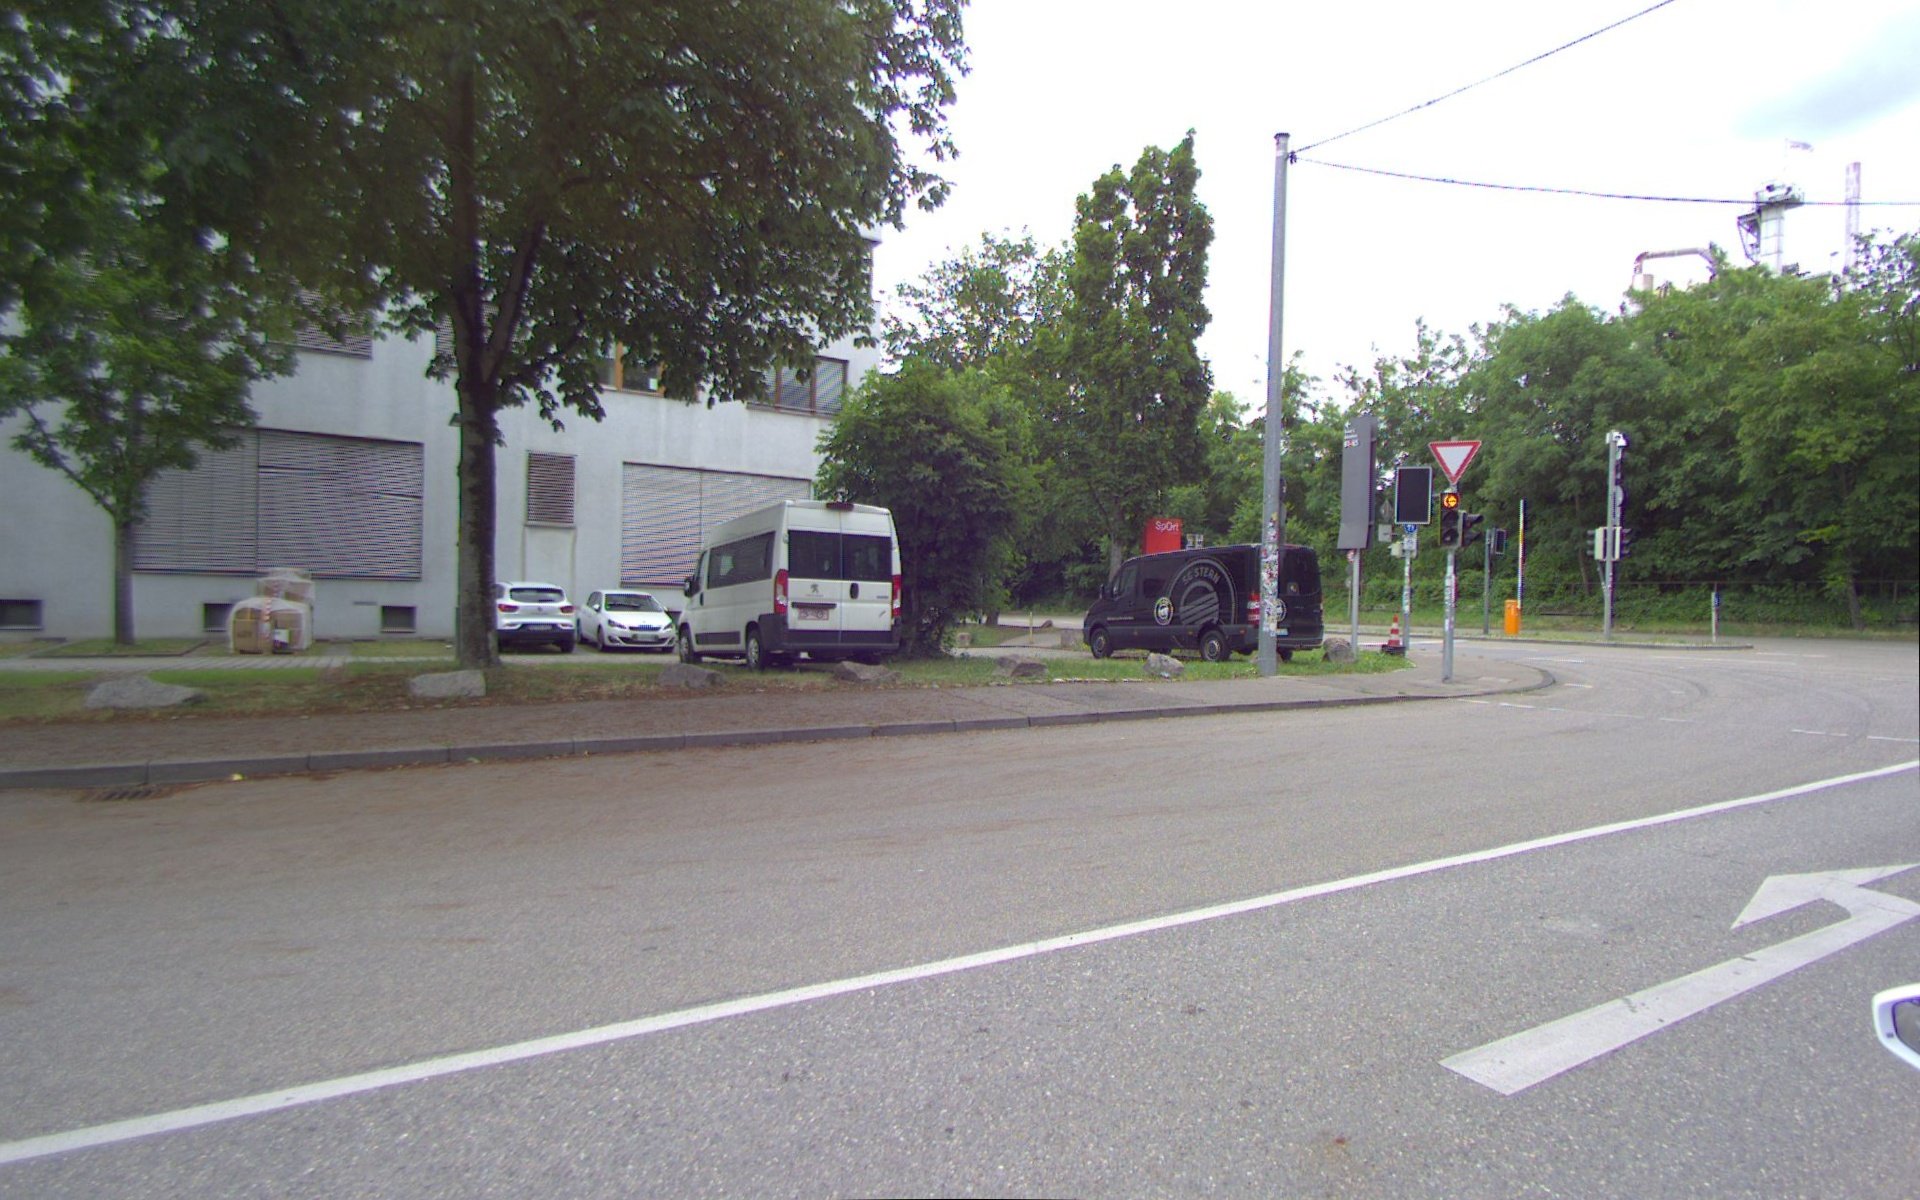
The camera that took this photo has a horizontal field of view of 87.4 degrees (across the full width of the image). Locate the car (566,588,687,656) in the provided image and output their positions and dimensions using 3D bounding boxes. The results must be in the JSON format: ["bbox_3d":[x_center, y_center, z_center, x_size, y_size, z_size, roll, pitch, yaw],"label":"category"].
[{"bbox_3d":[-8.545,0.526,25.557,1.881,1.475,3.972,3,0,-34],"label":"car"}]

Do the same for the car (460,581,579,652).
[{"bbox_3d":[-10.579,0.362,23.982,1.881,1.475,3.972,3,0,-34],"label":"car"}]

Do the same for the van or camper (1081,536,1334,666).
[{"bbox_3d":[5.004,0.125,21.261,2.036,2.343,5.513,3,-3,-28],"label":"van or camper"}]

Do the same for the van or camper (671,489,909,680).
[{"bbox_3d":[-2.962,-0.235,16.378,2.039,2.604,4.943,3,0,-32],"label":"van or camper"}]
